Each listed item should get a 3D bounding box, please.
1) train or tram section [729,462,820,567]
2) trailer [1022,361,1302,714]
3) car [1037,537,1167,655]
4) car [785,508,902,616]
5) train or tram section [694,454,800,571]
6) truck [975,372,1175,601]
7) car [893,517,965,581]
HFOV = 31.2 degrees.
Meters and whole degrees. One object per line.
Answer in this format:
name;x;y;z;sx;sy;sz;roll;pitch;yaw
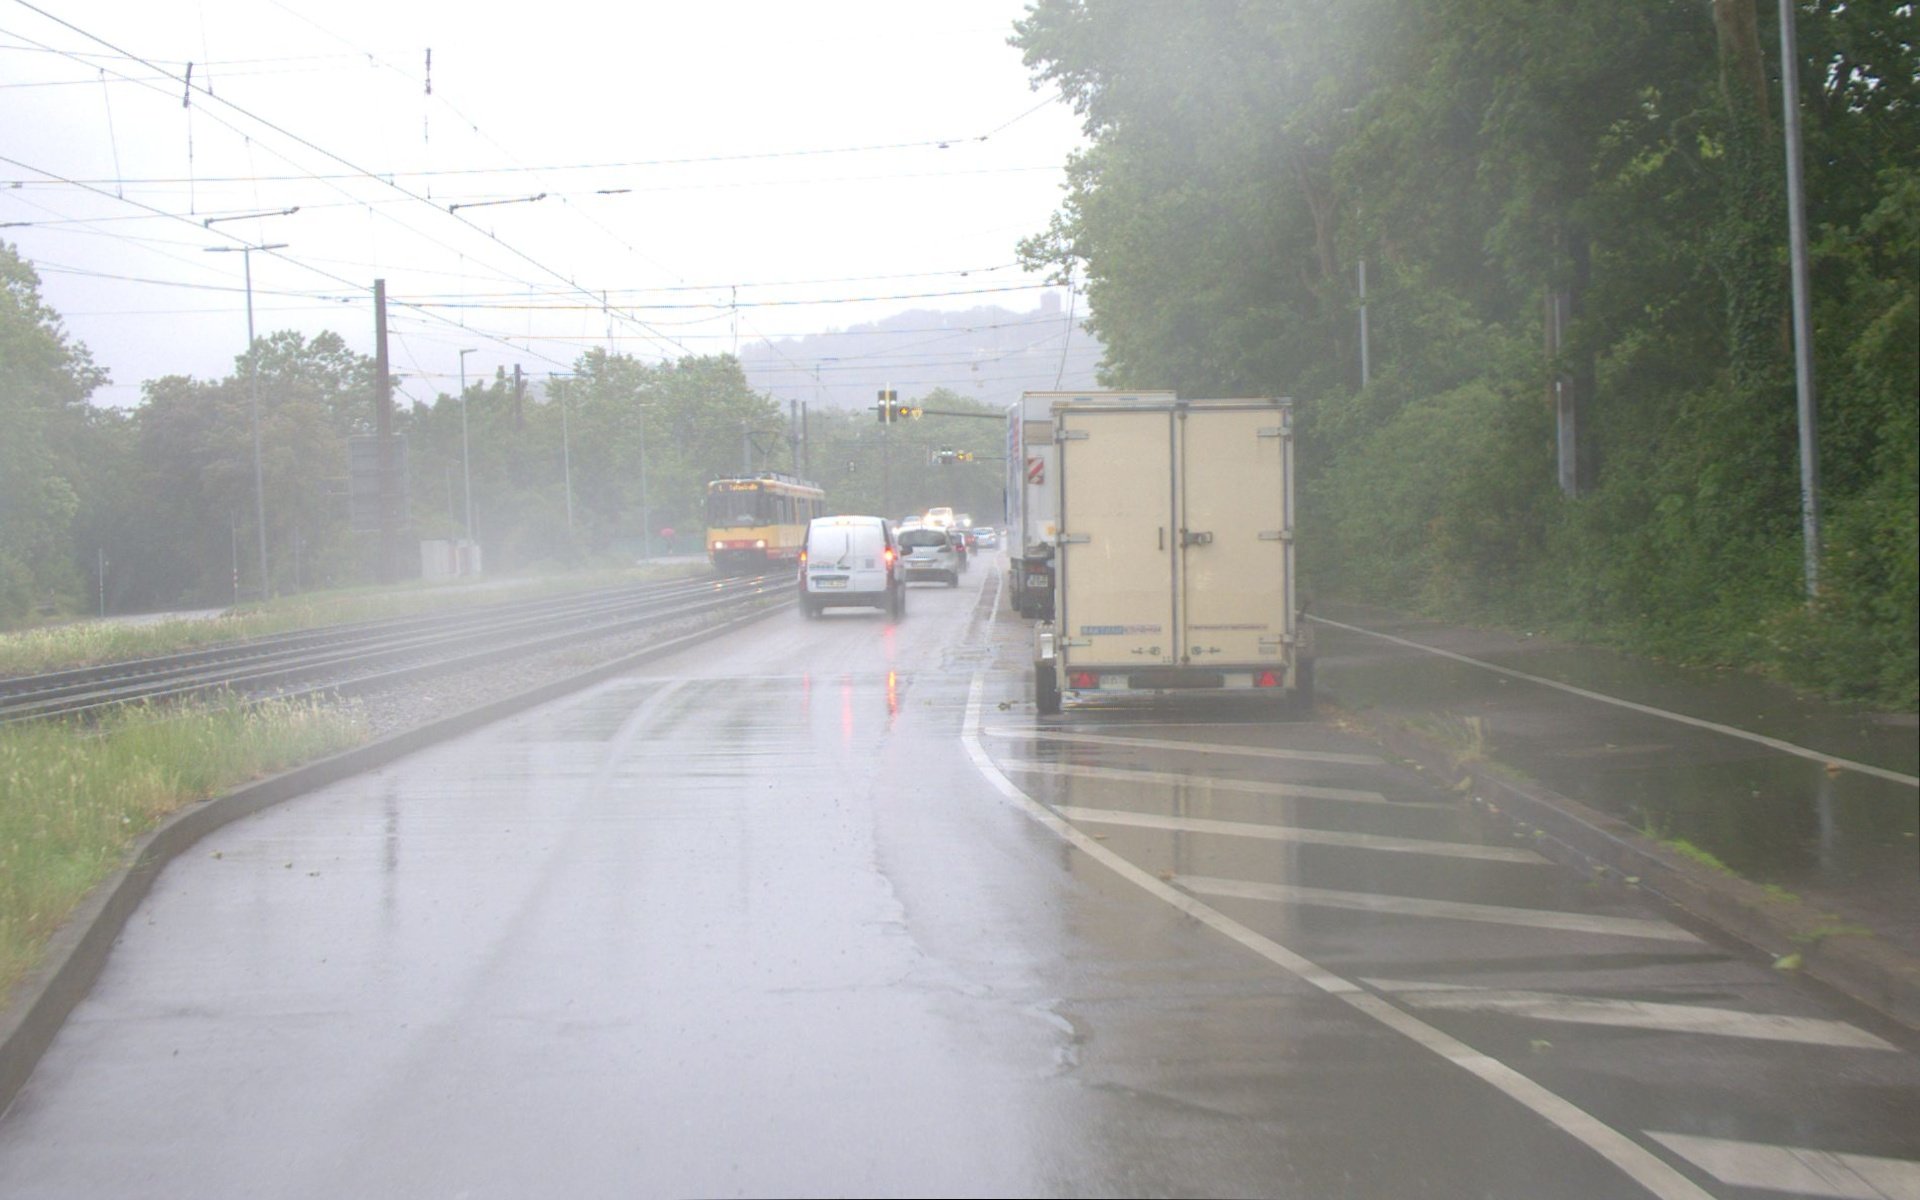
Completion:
train or tram section;-7.651;-3.517;143.415;2.806;4.135;13.019;-1;1;1
trailer;1.763;-0.523;30.042;2.166;2.748;5.676;-1;1;3
car;2.009;-0.094;47.905;1.713;1.524;4.000;-1;1;3
car;-2.140;-0.702;61.991;1.993;1.842;4.001;-1;1;-3
train or tram section;-7.943;-3.269;129.758;2.807;4.135;13.019;-1;1;1
truck;1.910;-1.898;61.135;2.775;3.691;9.853;-1;1;-2
car;-0.814;-1.343;91.494;1.786;1.637;3.968;-1;1;1
